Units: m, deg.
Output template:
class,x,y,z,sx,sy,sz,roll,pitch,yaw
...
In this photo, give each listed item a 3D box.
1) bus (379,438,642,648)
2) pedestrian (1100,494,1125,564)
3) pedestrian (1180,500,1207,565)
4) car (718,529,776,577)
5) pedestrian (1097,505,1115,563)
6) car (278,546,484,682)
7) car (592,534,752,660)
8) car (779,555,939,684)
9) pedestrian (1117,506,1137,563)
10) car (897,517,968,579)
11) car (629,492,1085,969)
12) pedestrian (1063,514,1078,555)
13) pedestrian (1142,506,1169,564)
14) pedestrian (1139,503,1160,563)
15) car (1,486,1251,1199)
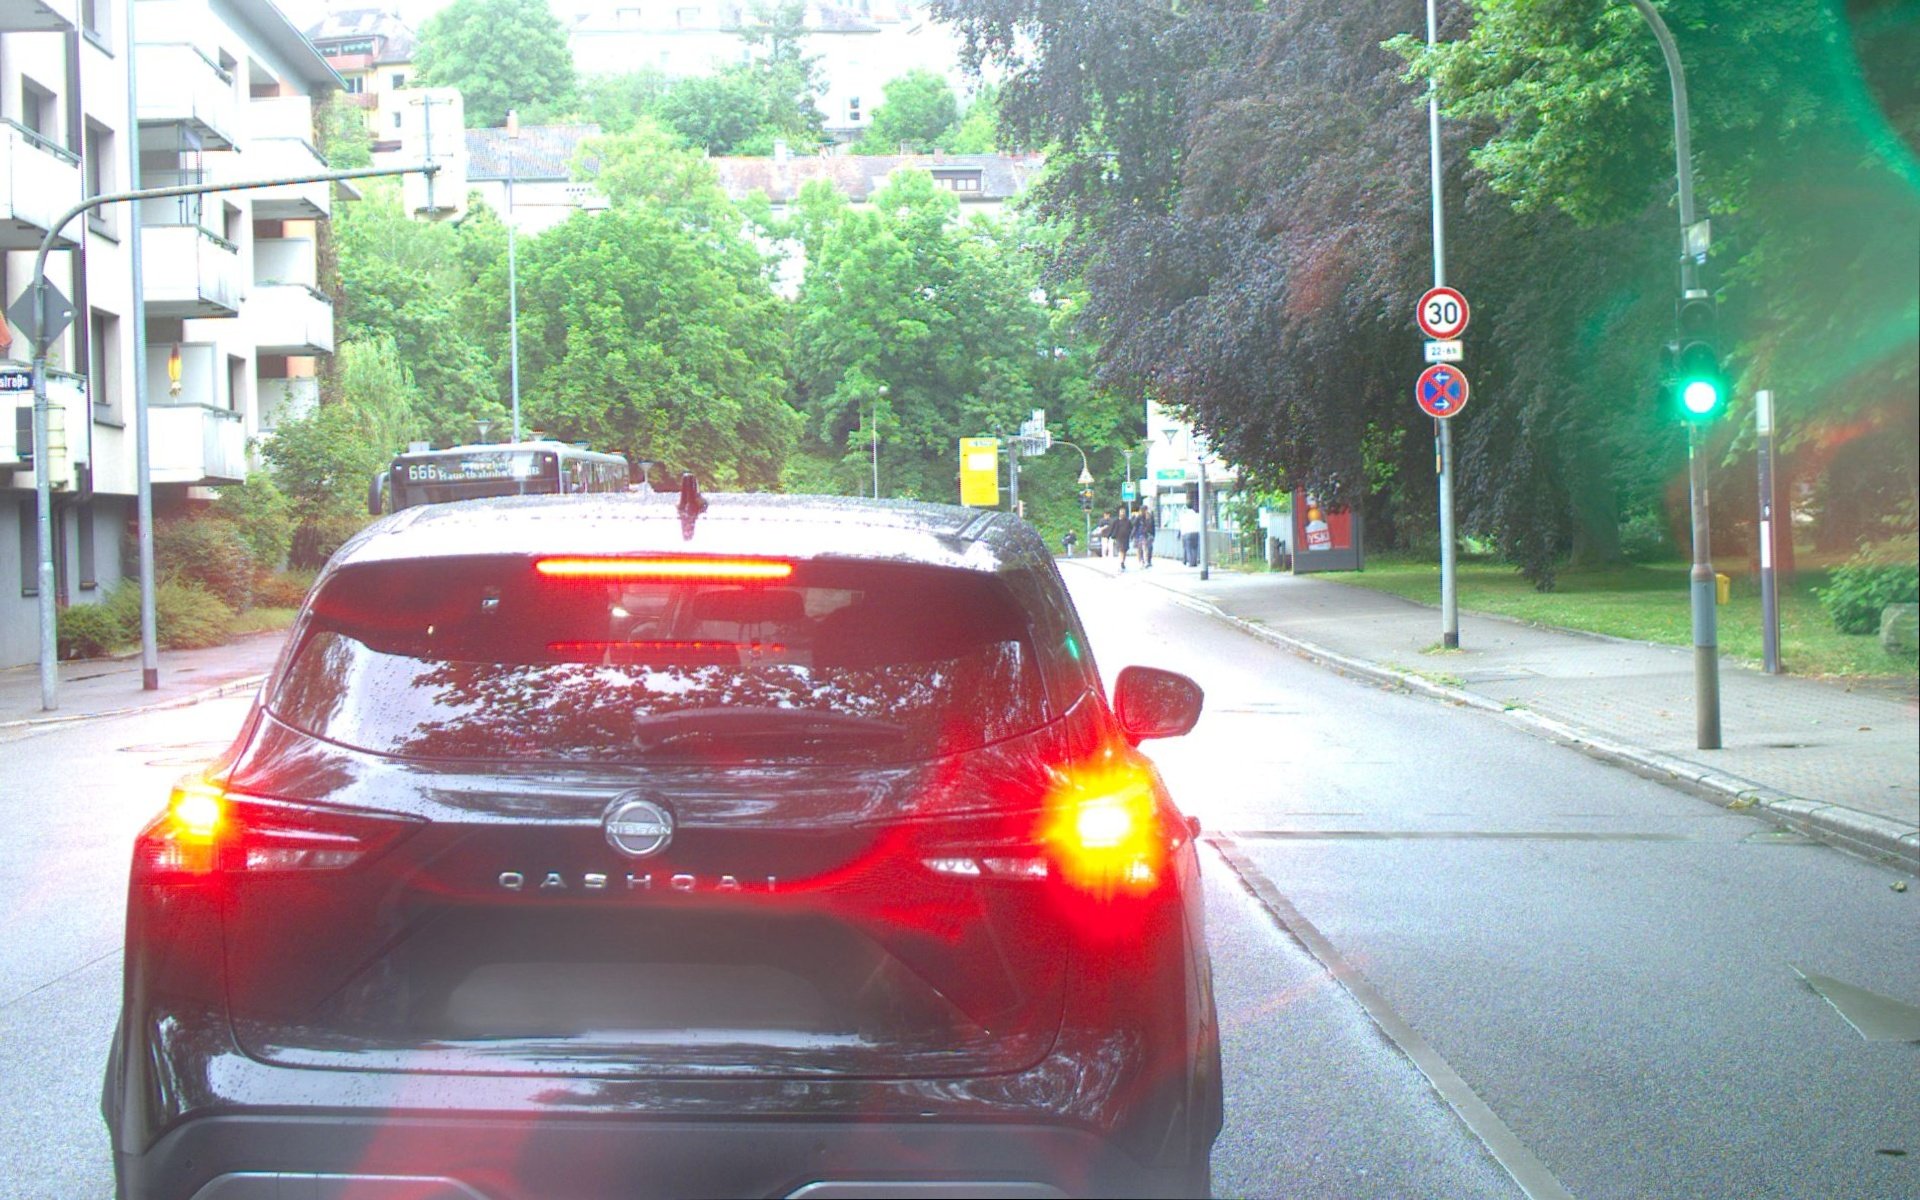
class,x,y,z,sx,sy,sz,roll,pitch,yaw
bus,-7.044,-0.920,55.620,2.766,2.964,11.782,-2,1,-1
pedestrian,4.830,-2.247,108.991,0.768,2.176,0.711,1,0,3
pedestrian,6.536,-1.896,96.358,0.618,1.773,0.778,-2,1,-1
car,-7.537,-1.677,121.868,1.750,1.628,3.635,-2,1,0
pedestrian,4.160,-1.882,98.237,0.475,1.645,0.490,1,0,0
car,-6.848,0.127,41.021,1.808,1.412,4.031,-3,1,-2
car,-3.495,-0.068,42.202,1.624,1.410,3.455,-2,1,0
car,-1.203,0.197,41.080,1.808,1.412,4.031,0,1,-2
pedestrian,4.777,-1.875,98.453,0.544,1.645,0.490,1,0,0
car,-0.658,-1.263,83.156,1.624,1.410,3.455,-2,1,0
car,-0.346,0.445,14.602,1.622,1.703,3.771,-2,1,1
pedestrian,5.592,-3.320,173.936,0.699,2.007,0.583,-2,1,-1
pedestrian,5.588,-1.863,98.307,0.699,1.645,0.628,1,0,0
pedestrian,5.326,-1.878,96.527,0.514,1.650,0.550,1,0,-1
car,-0.513,0.619,7.009,1.806,1.584,4.000,1,1,-1
